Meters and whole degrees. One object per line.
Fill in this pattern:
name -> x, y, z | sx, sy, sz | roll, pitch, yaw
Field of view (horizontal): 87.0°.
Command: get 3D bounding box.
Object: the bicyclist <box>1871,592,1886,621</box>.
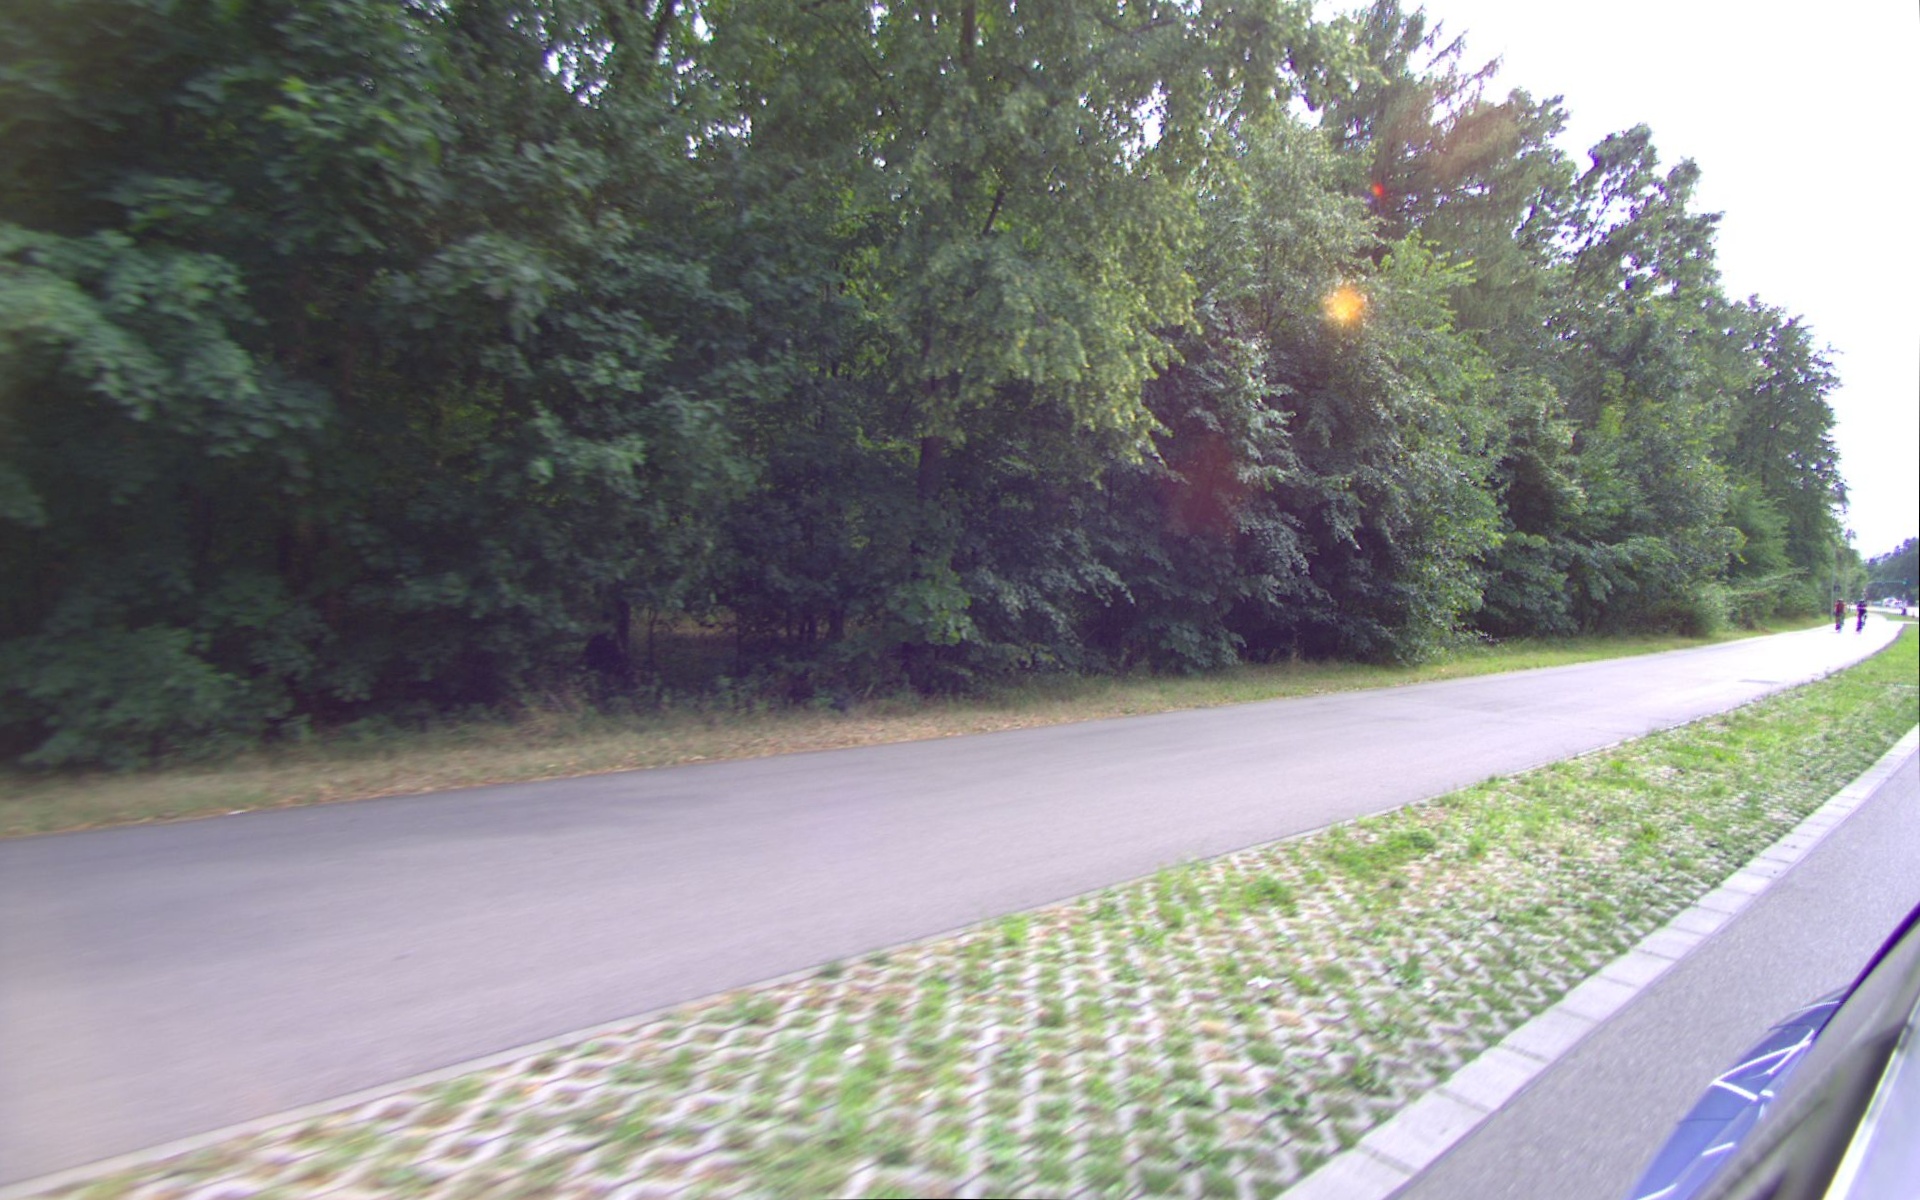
bicyclist -> 46.255, 0.318, 50.960 | 0.519, 1.433, 1.168 | 2, 2, 42

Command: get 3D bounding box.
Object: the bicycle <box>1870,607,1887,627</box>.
bicycle -> 46.262, 0.849, 50.969 | 0.565, 0.923, 1.728 | 5, 4, 42

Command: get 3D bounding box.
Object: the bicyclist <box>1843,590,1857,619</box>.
bicyclist -> 45.452, 0.213, 51.656 | 0.519, 1.433, 1.168 | -1, 0, 42

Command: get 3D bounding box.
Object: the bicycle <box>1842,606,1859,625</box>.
bicycle -> 45.475, 0.791, 51.691 | 0.566, 0.923, 1.858 | 5, 3, 42
